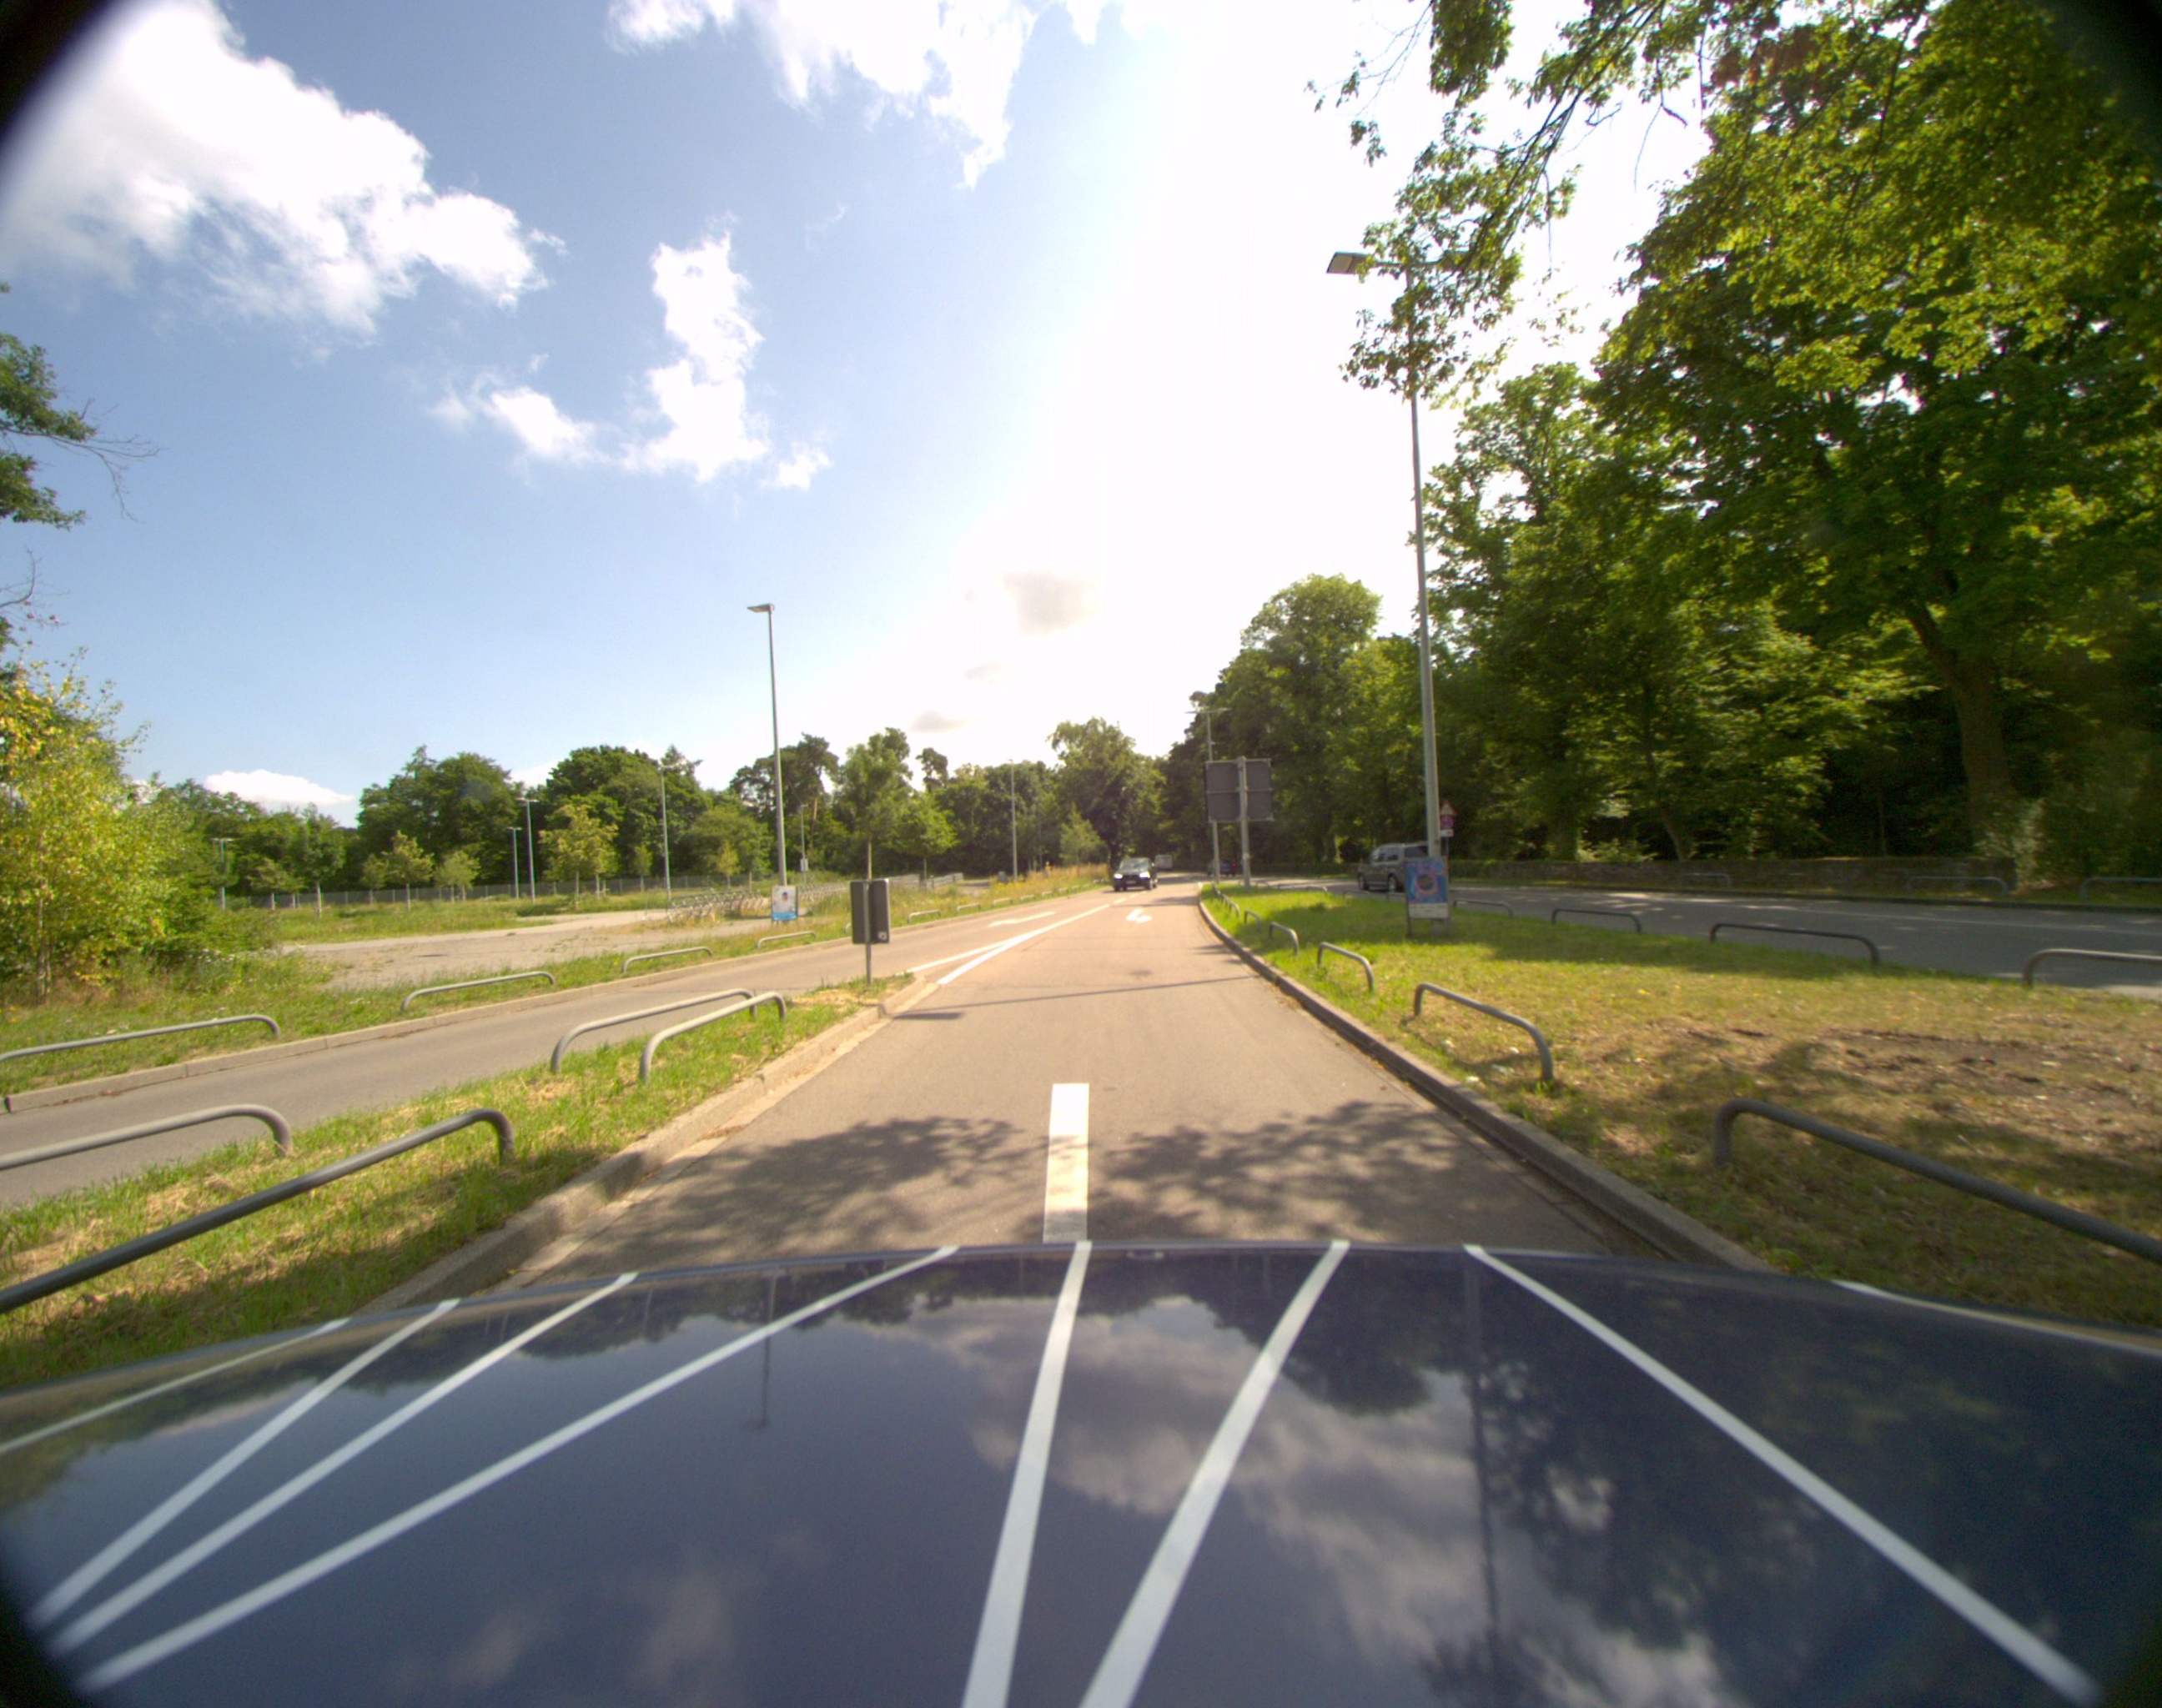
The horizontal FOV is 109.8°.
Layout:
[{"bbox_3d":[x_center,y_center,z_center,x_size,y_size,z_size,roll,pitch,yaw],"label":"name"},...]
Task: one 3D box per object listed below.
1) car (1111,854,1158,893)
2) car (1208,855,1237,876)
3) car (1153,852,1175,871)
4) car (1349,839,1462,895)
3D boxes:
[{"bbox_3d":[2.921,0.994,40.641,1.979,1.754,4.710,-3,1,9],"label":"car"},{"bbox_3d":[11.533,0.925,62.133,1.698,1.438,4.067,-4,1,3],"label":"car"},{"bbox_3d":[11.362,0.953,104.359,1.980,2.417,5.361,-4,1,-2],"label":"car"},{"bbox_3d":[10.950,0.441,25.999,1.766,1.620,4.298,-5,-1,-3],"label":"car"}]
